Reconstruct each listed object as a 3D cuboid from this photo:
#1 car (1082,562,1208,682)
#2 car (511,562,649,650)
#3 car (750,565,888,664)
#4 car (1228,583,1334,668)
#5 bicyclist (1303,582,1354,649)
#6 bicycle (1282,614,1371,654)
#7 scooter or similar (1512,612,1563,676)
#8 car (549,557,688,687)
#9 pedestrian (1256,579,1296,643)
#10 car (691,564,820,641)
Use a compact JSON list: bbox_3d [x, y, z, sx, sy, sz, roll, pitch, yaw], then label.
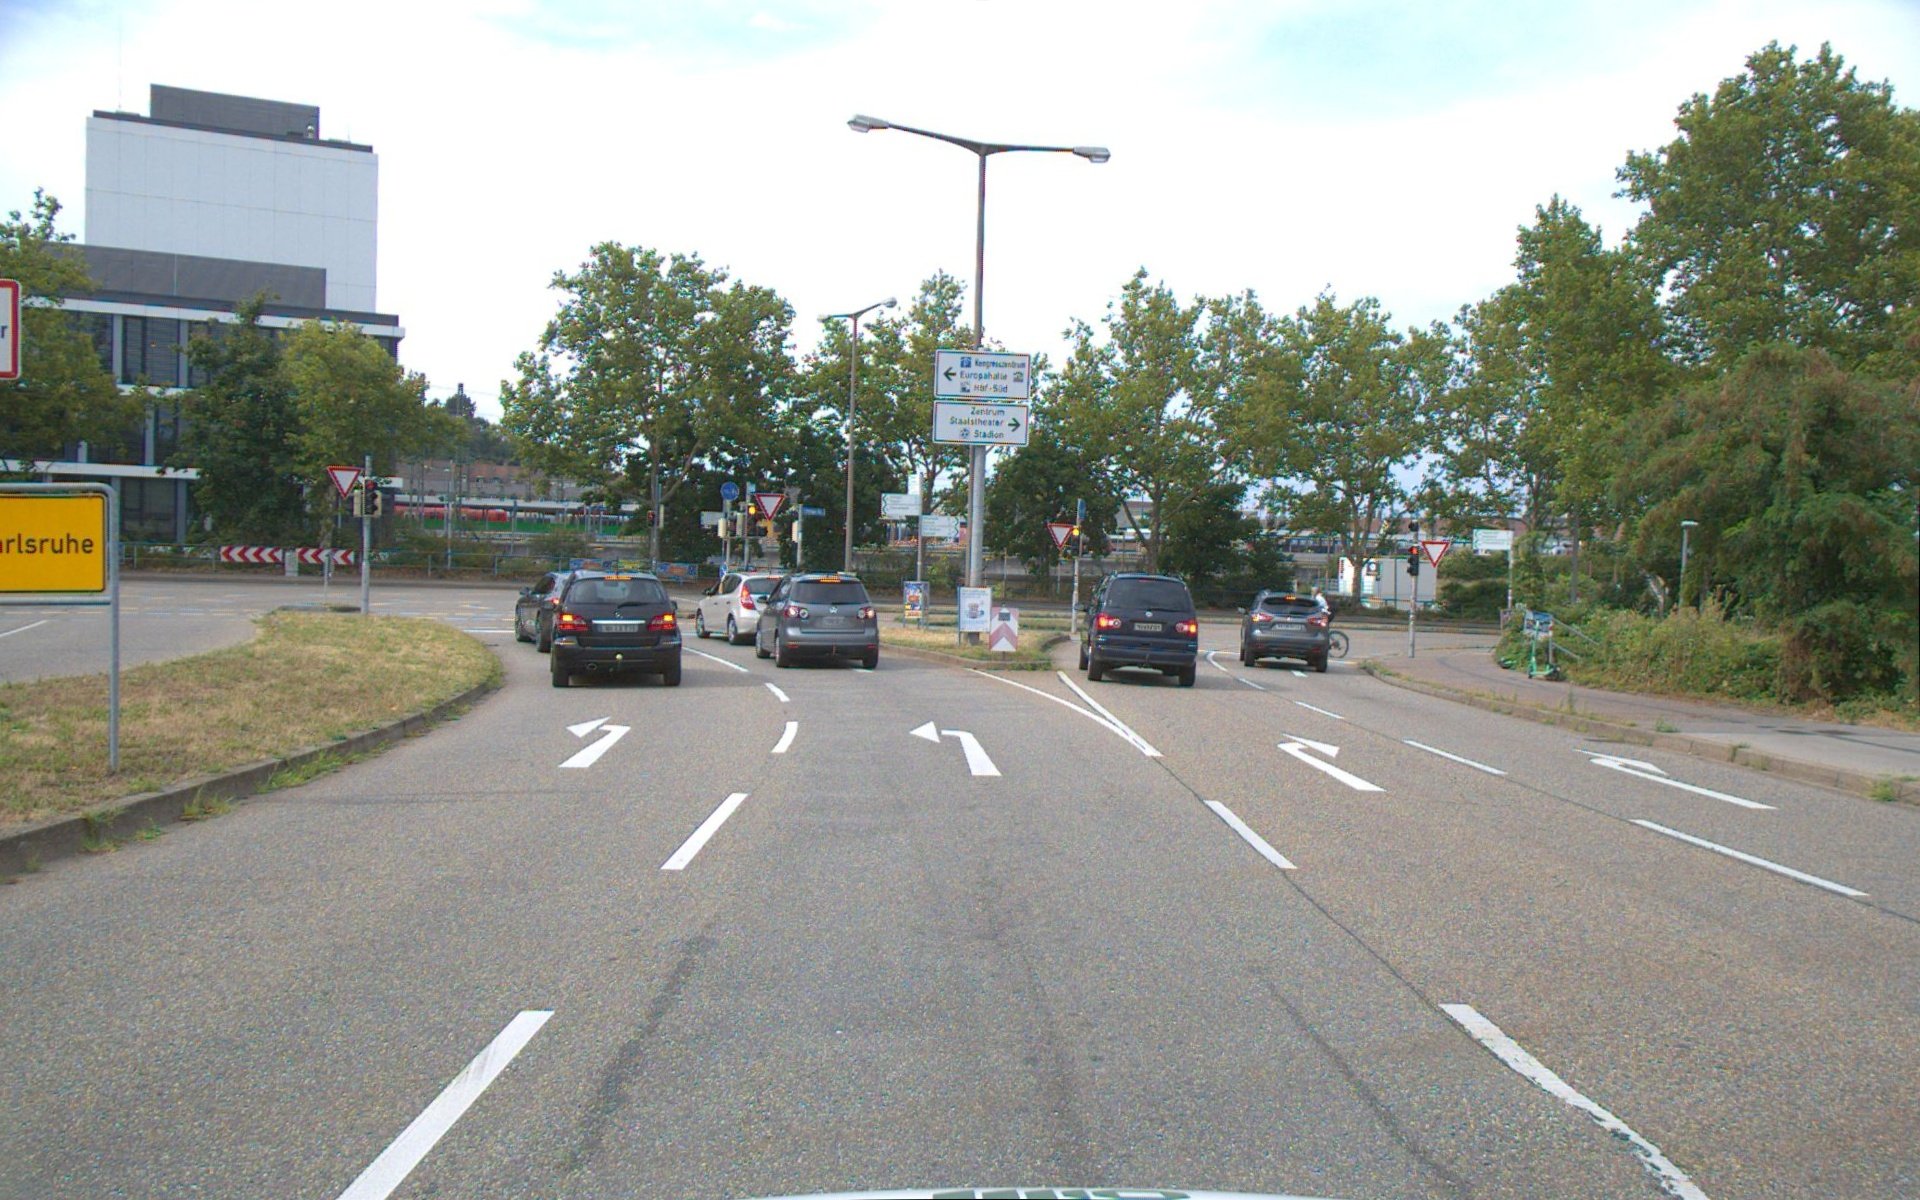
[{"bbox_3d":[3.015,0.327,27.660,1.714,1.754,4.139,4,0,2],"label":"car"},{"bbox_3d":[-7.307,0.060,31.458,1.793,1.438,4.745,2,1,-22],"label":"car"},{"bbox_3d":[-2.544,0.200,29.033,1.712,1.573,4.066,1,1,-15],"label":"car"},{"bbox_3d":[7.043,0.525,36.608,1.714,1.671,4.140,4,1,4],"label":"car"},{"bbox_3d":[9.918,0.408,44.496,1.093,1.726,0.810,2,1,34],"label":"bicyclist"},{"bbox_3d":[9.864,0.900,44.531,2.190,0.969,0.809,2,1,35],"label":"bicycle"},{"bbox_3d":[11.306,0.844,32.399,0.389,1.204,1.278,1,0,-7],"label":"scooter or similar"},{"bbox_3d":[-5.028,0.257,23.984,1.728,1.602,4.022,2,2,-15],"label":"car"},{"bbox_3d":[8.893,0.305,46.574,1.025,1.740,0.854,3,1,10],"label":"pedestrian"},{"bbox_3d":[-4.445,0.017,35.481,1.717,1.508,4.054,1,1,-22],"label":"car"}]
